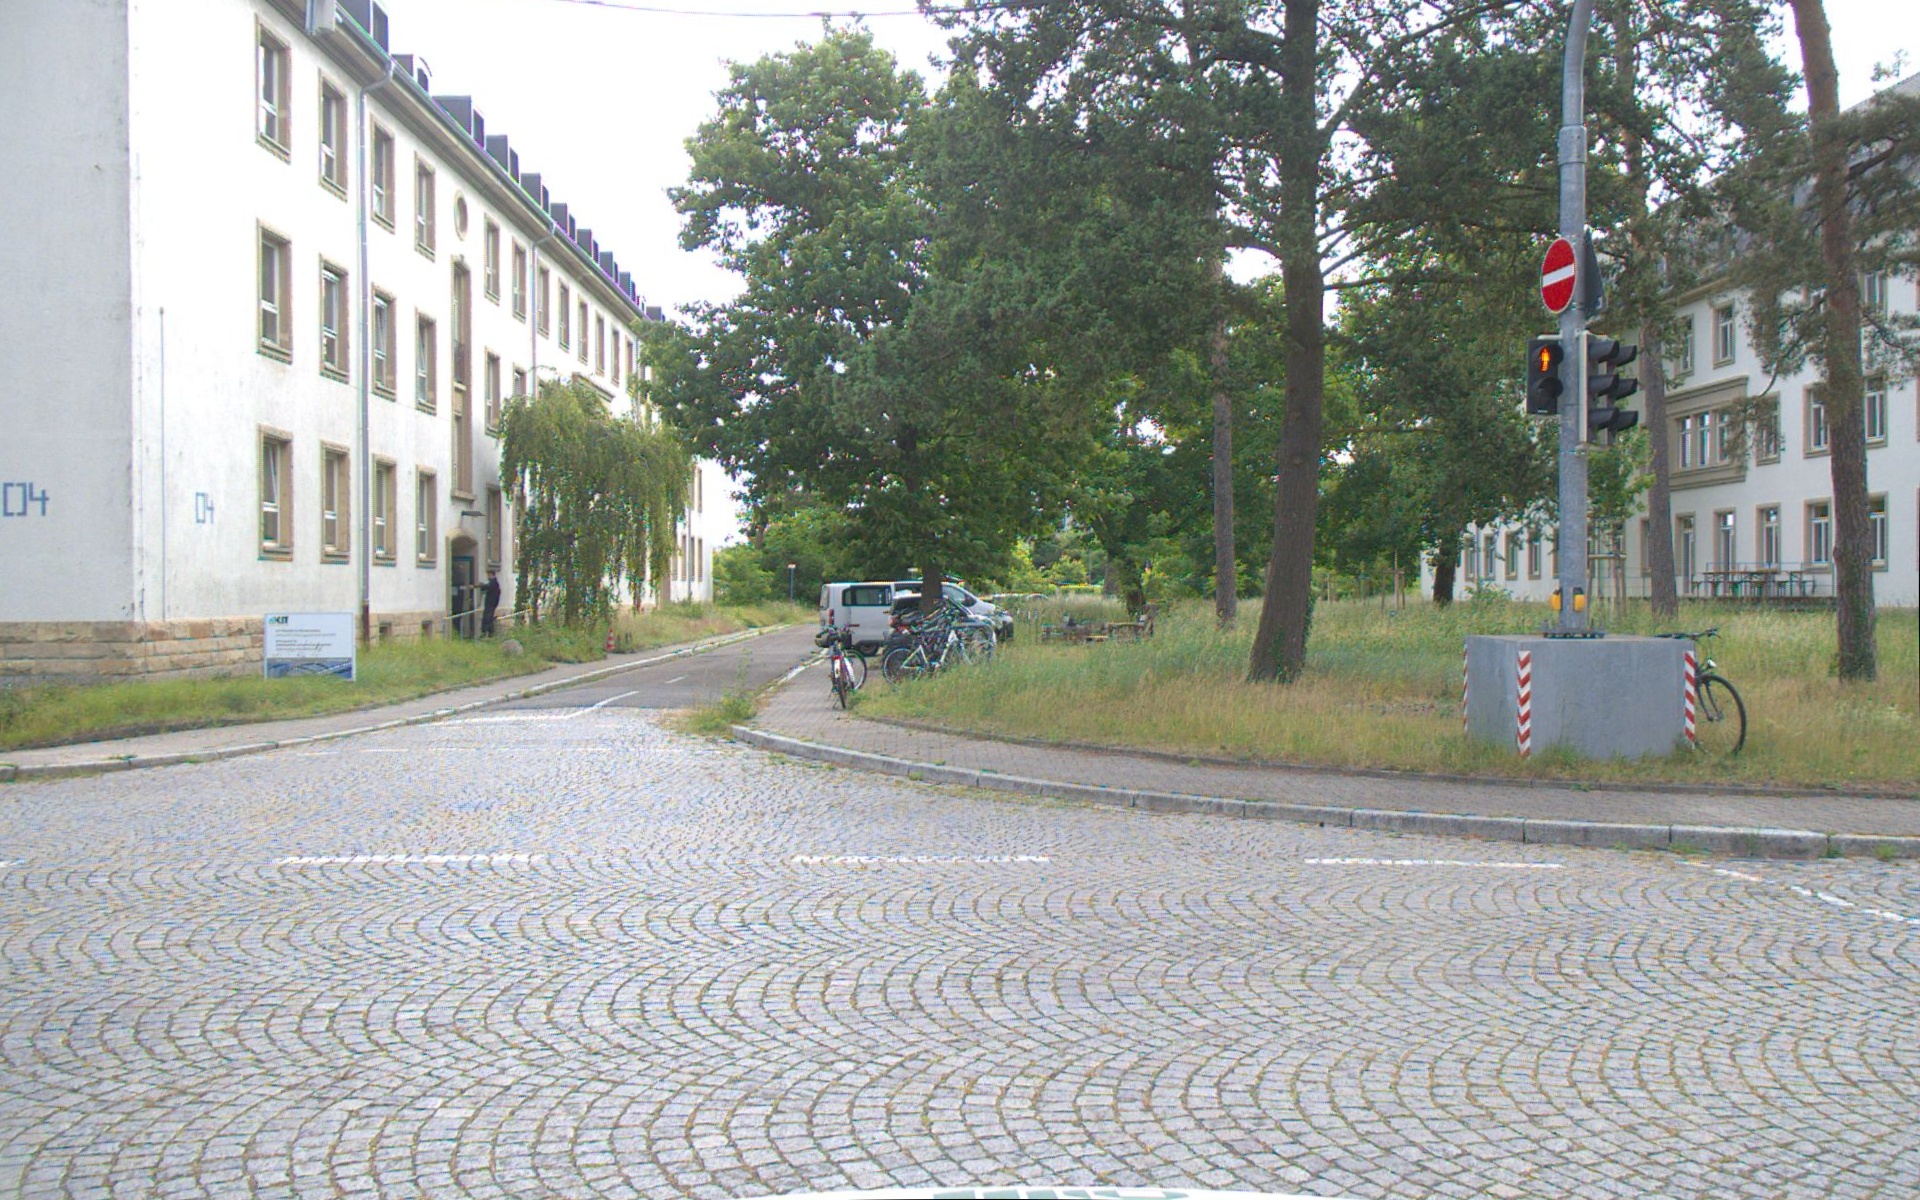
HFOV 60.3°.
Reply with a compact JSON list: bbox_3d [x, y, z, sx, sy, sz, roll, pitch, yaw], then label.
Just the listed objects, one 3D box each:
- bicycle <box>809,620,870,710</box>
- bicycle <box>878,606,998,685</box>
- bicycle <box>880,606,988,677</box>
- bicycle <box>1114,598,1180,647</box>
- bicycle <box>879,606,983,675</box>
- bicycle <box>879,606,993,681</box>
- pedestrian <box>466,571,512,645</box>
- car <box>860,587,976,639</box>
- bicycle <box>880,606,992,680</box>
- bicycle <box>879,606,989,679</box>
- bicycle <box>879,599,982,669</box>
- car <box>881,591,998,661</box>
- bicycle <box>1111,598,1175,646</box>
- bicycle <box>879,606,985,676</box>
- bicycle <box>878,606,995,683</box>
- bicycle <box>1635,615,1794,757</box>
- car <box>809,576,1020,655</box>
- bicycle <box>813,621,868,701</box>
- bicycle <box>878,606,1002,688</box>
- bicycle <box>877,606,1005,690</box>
[{"bbox_3d":[-1.603,0.851,22.284,0.609,1.133,1.989,1,0,1],"label":"bicycle"},{"bbox_3d":[-0.377,0.748,27.251,1.943,1.269,0.624,1,0,-3],"label":"bicycle"},{"bbox_3d":[-0.485,0.756,30.345,1.943,1.269,0.624,1,0,-3],"label":"bicycle"},{"bbox_3d":[4.455,0.536,39.399,1.517,1.144,0.401,0,0,0],"label":"bicycle"},{"bbox_3d":[-0.559,0.759,31.350,1.943,1.269,0.624,1,0,-3],"label":"bicycle"},{"bbox_3d":[-0.425,0.752,28.743,1.943,1.269,0.624,1,0,-3],"label":"bicycle"},{"bbox_3d":[-11.754,0.195,41.288,0.819,1.812,0.941,0,0,4],"label":"pedestrian"},{"bbox_3d":[-1.468,0.457,57.659,3.951,1.748,1.680,-1,0,-3],"label":"car"},{"bbox_3d":[-0.429,0.754,29.268,1.943,1.269,0.624,1,0,-3],"label":"bicycle"},{"bbox_3d":[-0.480,0.754,29.664,1.943,1.269,0.624,1,0,-3],"label":"bicycle"},{"bbox_3d":[-0.583,0.644,32.010,1.943,1.269,0.624,-2,0,-3],"label":"bicycle"},{"bbox_3d":[-0.509,0.622,40.320,2.790,1.585,1.471,-1,1,-2],"label":"car"},{"bbox_3d":[4.487,0.537,40.632,1.517,1.144,0.401,0,0,0],"label":"bicycle"},{"bbox_3d":[-0.525,0.757,30.857,1.943,1.269,0.624,1,0,-3],"label":"bicycle"},{"bbox_3d":[-0.408,0.750,28.110,1.943,1.269,0.624,1,0,-3],"label":"bicycle"},{"bbox_3d":[6.098,0.663,13.458,0.568,0.987,1.678,-2,2,3],"label":"bicycle"},{"bbox_3d":[-1.226,0.383,43.776,5.219,1.949,2.140,-1,0,-16],"label":"car"},{"bbox_3d":[-1.739,0.872,24.235,0.609,1.101,1.678,1,0,3],"label":"bicycle"},{"bbox_3d":[-0.329,0.745,26.326,1.943,1.269,0.624,1,0,-3],"label":"bicycle"},{"bbox_3d":[-0.306,0.744,25.698,1.943,1.269,0.624,1,0,-3],"label":"bicycle"}]
